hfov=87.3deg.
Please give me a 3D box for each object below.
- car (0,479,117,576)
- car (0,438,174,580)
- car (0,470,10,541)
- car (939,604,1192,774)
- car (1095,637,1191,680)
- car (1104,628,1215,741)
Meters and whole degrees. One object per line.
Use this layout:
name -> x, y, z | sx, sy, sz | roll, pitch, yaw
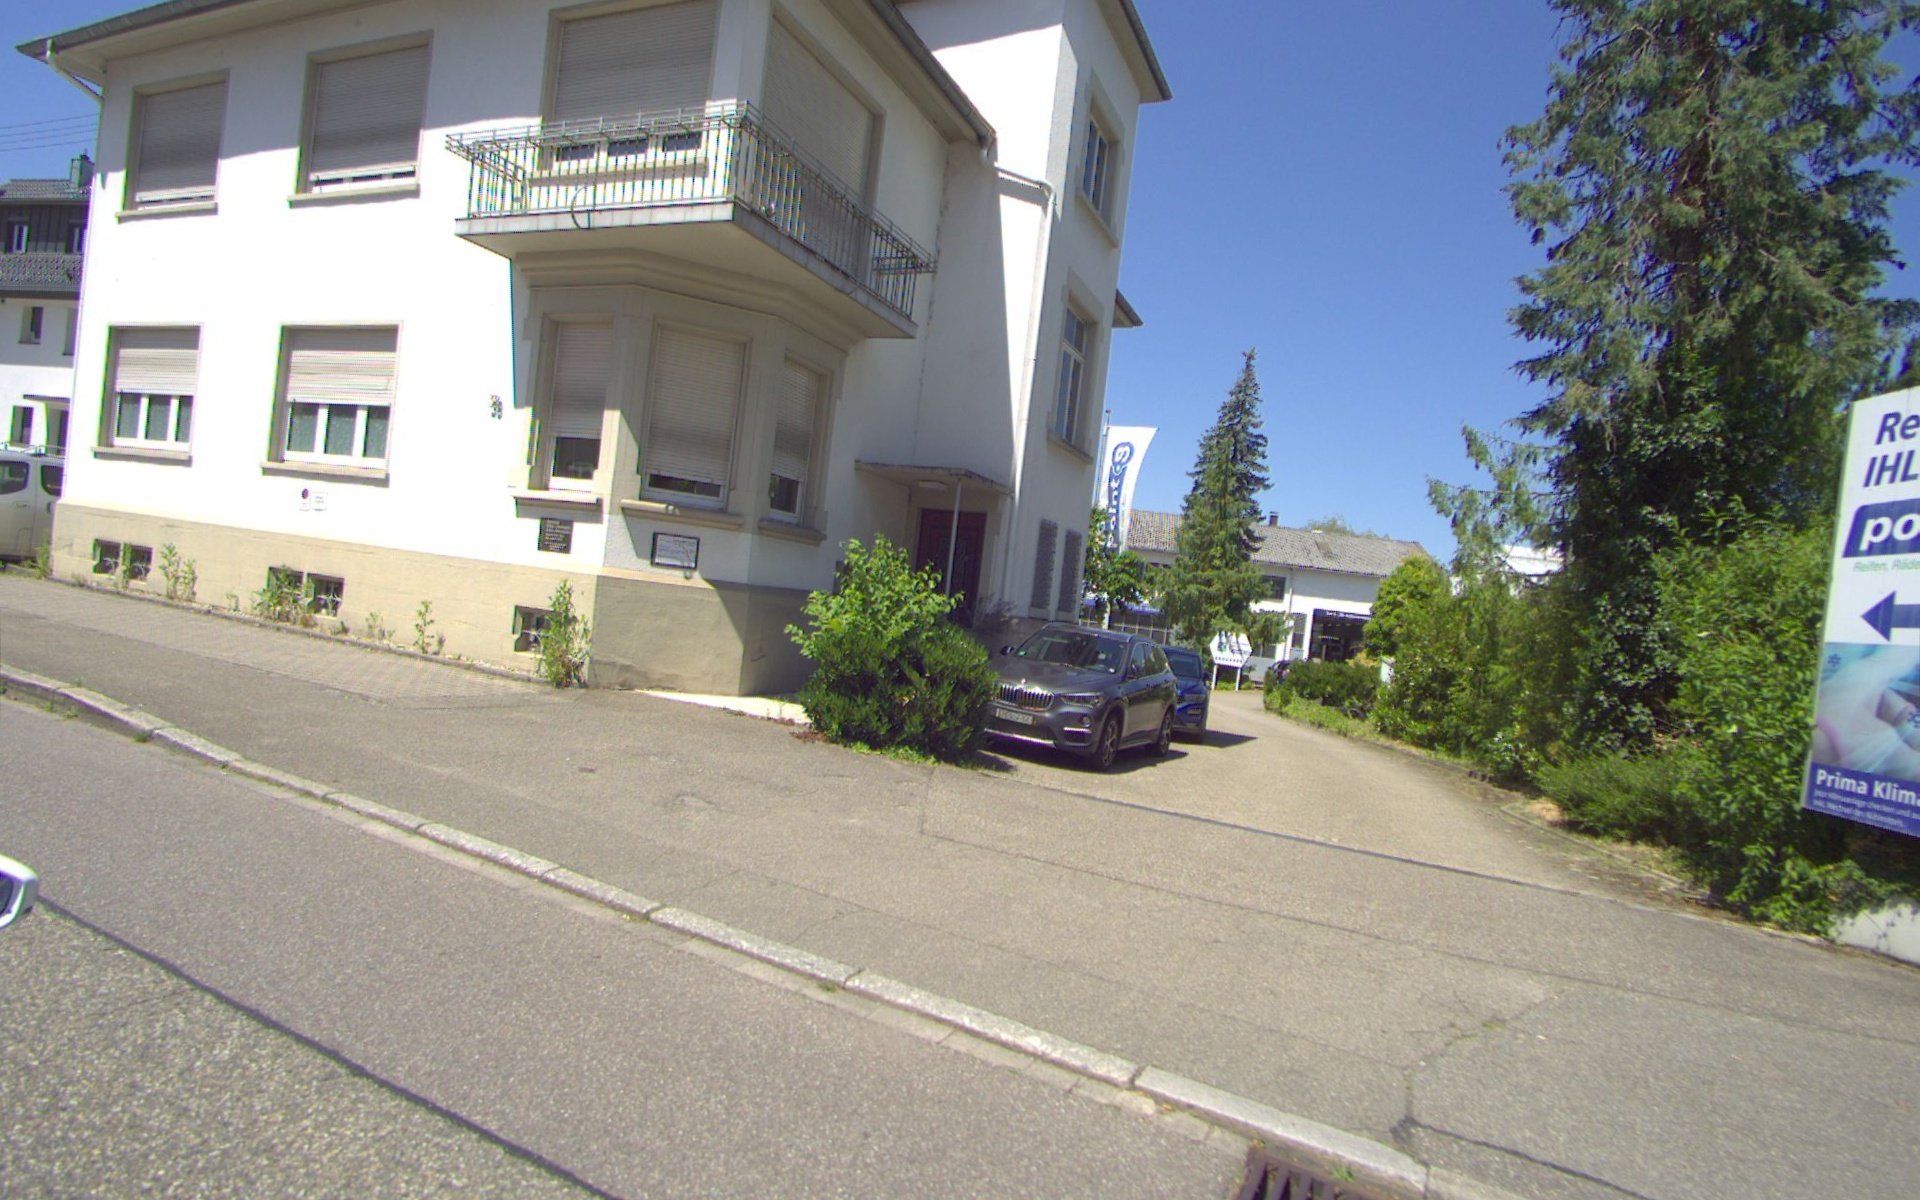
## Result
car -> -17.286, -1.495, 16.695 | 1.737, 1.424, 4.658 | 8, -3, 25
car -> -15.090, -1.569, 15.522 | 1.706, 1.851, 4.311 | 8, -3, 16
car -> -20.002, -1.984, 17.796 | 4.266, 1.565, 1.741 | 10, -3, -34
car -> 1.521, 1.135, 12.810 | 1.766, 1.610, 4.000 | 7, -2, 27
car -> 9.371, 3.007, 51.728 | 4.269, 1.636, 1.996 | 8, -2, -13
car -> 3.706, 1.485, 18.235 | 1.576, 1.610, 4.004 | 8, -2, 14
